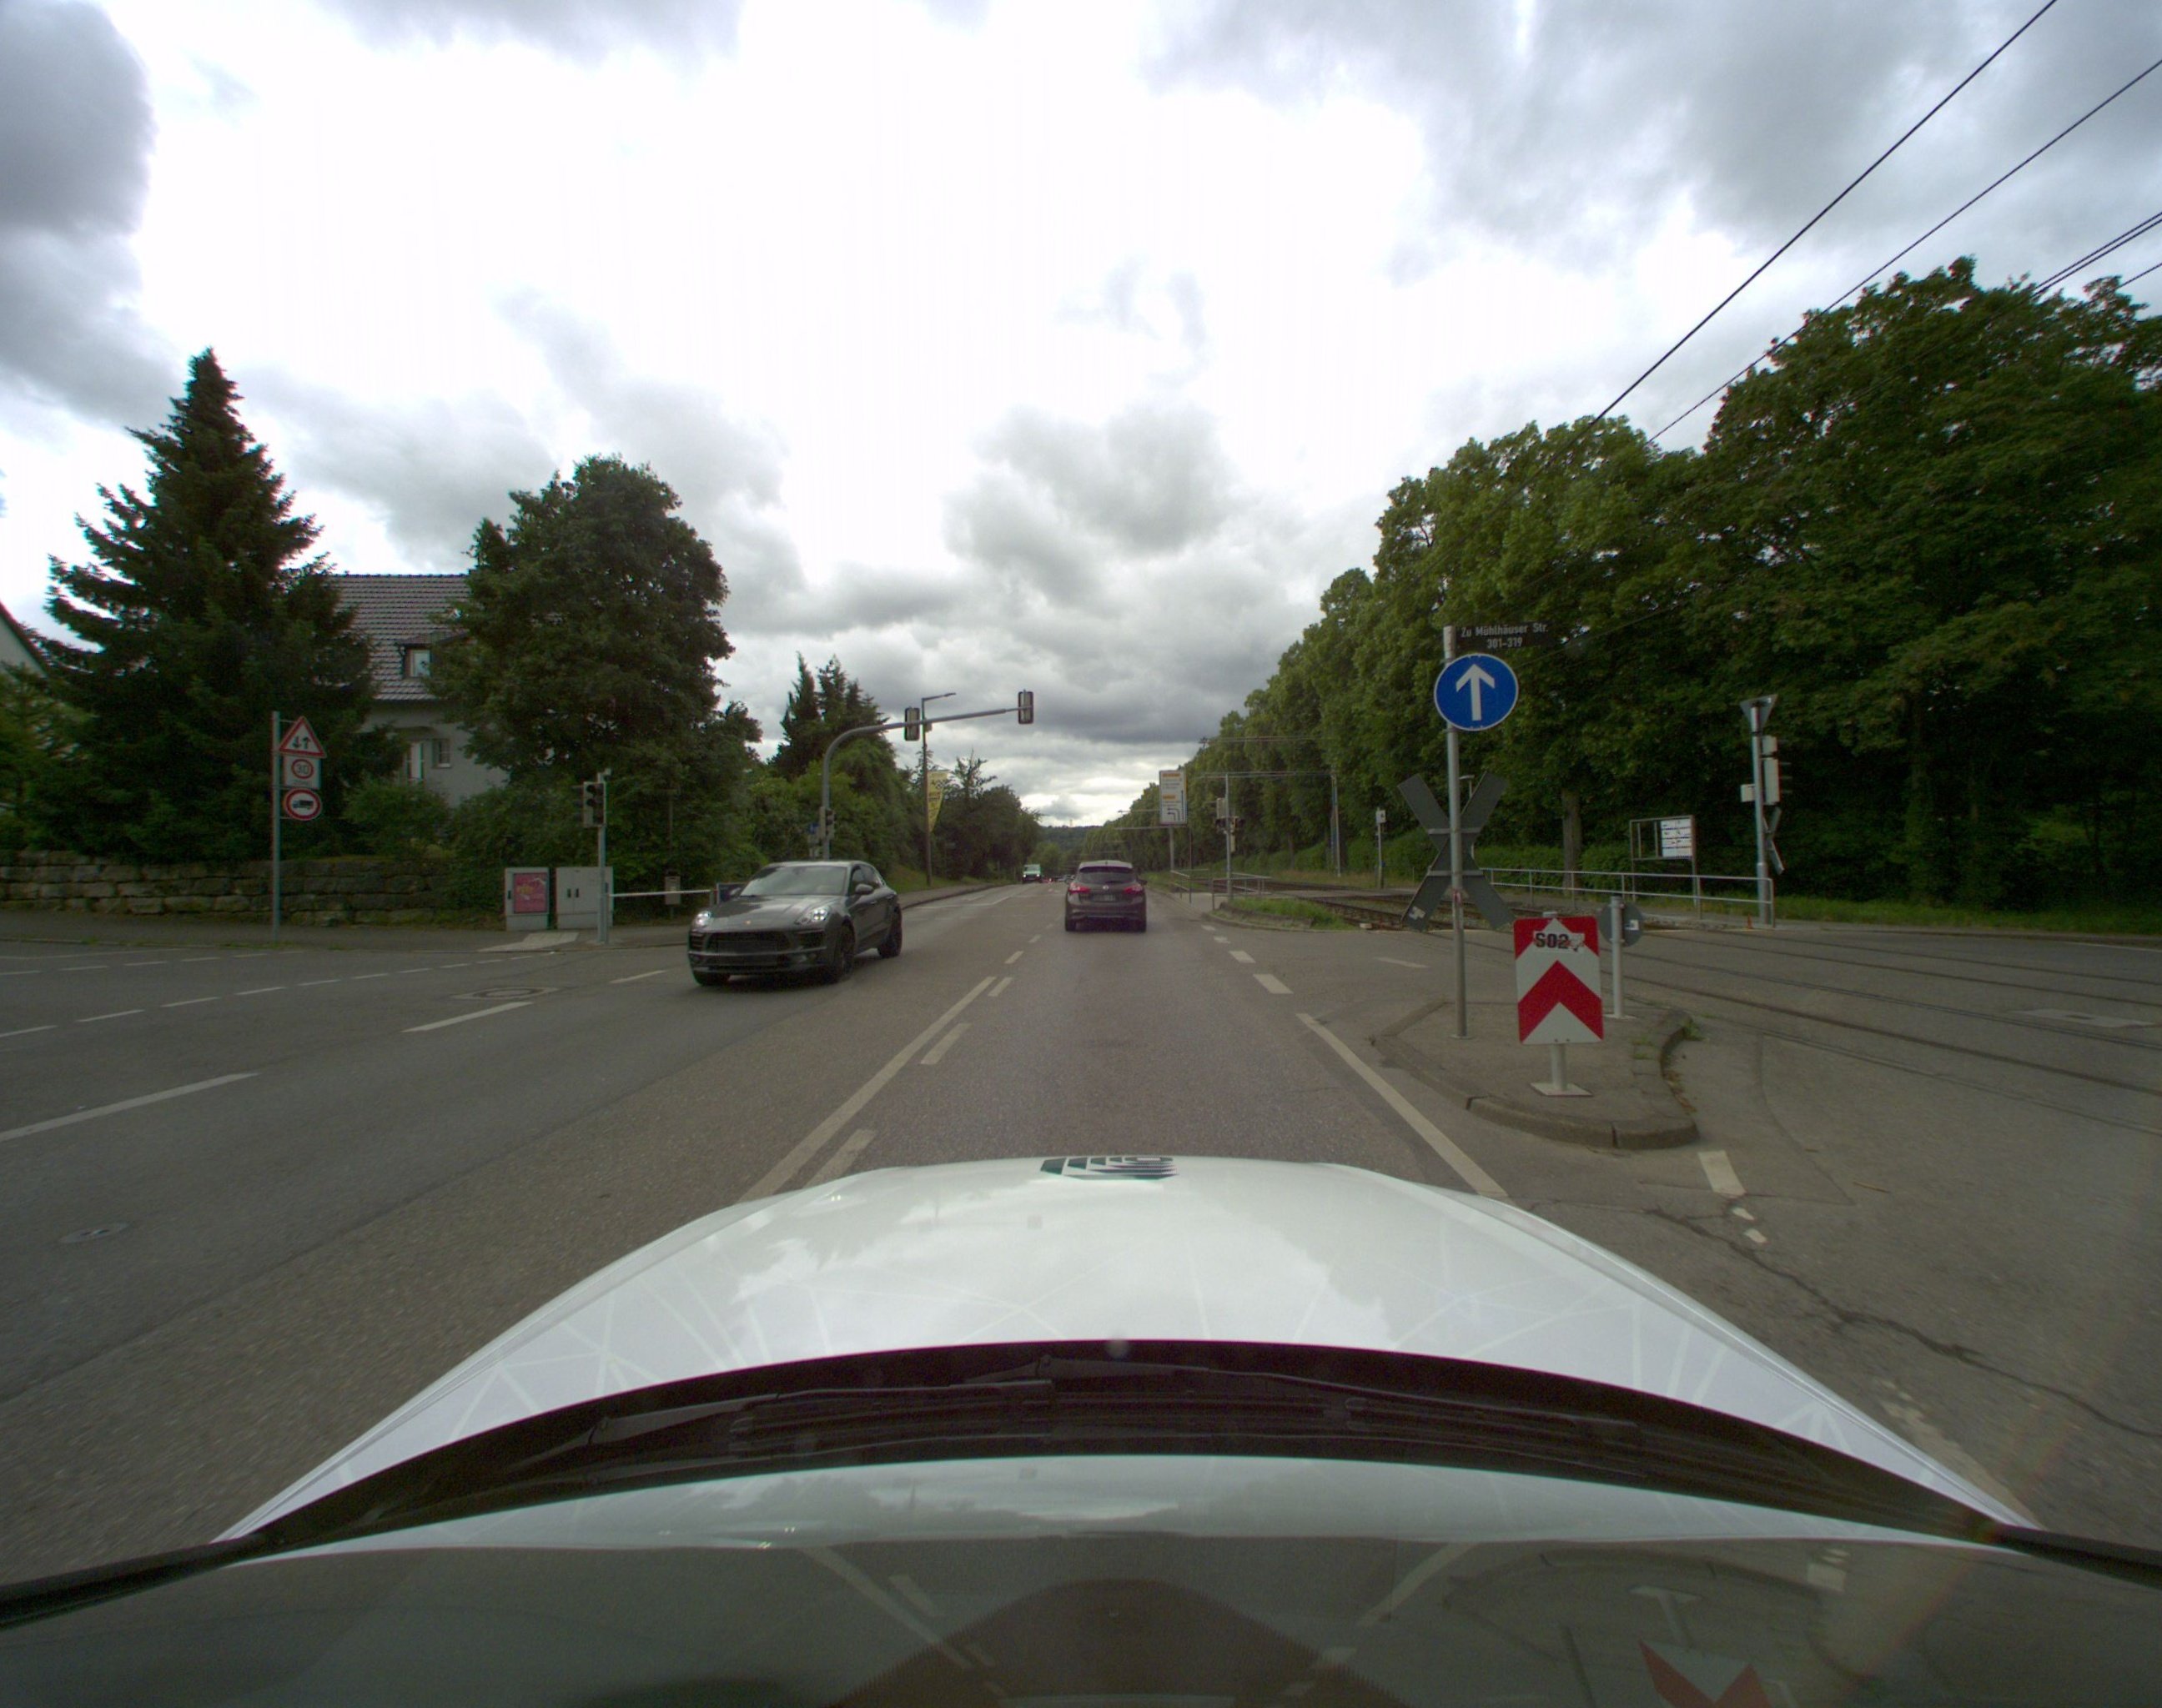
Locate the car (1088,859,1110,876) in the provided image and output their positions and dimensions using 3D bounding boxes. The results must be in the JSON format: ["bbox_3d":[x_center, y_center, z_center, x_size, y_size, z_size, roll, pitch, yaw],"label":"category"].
[{"bbox_3d":[1.490,1.108,66.365,1.735,1.310,4.002,1,0,2],"label":"car"}]

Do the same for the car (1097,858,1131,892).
[{"bbox_3d":[1.552,0.943,38.865,1.533,1.478,3.766,-1,0,2],"label":"car"}]

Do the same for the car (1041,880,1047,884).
[{"bbox_3d":[-11.910,9.058,261.718,1.736,1.310,3.999,1,0,0],"label":"car"}]

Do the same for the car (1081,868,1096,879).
[{"bbox_3d":[0.939,2.457,102.200,1.737,1.310,3.998,1,0,-1],"label":"car"}]

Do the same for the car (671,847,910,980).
[{"bbox_3d":[-3.937,0.759,11.963,1.895,1.574,4.481,0,-1,0],"label":"car"}]

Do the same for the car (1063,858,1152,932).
[{"bbox_3d":[0.629,0.888,19.105,1.828,1.519,4.484,0,-1,2],"label":"car"}]

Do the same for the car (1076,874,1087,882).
[{"bbox_3d":[0.095,4.008,136.805,1.736,1.310,3.999,1,0,0],"label":"car"}]

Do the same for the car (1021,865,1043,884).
[{"bbox_3d":[-4.721,1.975,78.977,1.779,1.696,4.000,-2,-1,0],"label":"car"}]

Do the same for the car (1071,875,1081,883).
[{"bbox_3d":[-0.969,4.659,153.584,1.736,1.310,3.999,1,0,0],"label":"car"}]

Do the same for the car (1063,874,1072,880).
[{"bbox_3d":[-2.910,4.891,174.232,1.736,1.310,3.999,1,0,0],"label":"car"}]

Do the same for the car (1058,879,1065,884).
[{"bbox_3d":[-5.347,7.639,225.988,1.736,1.310,3.999,1,0,0],"label":"car"}]
